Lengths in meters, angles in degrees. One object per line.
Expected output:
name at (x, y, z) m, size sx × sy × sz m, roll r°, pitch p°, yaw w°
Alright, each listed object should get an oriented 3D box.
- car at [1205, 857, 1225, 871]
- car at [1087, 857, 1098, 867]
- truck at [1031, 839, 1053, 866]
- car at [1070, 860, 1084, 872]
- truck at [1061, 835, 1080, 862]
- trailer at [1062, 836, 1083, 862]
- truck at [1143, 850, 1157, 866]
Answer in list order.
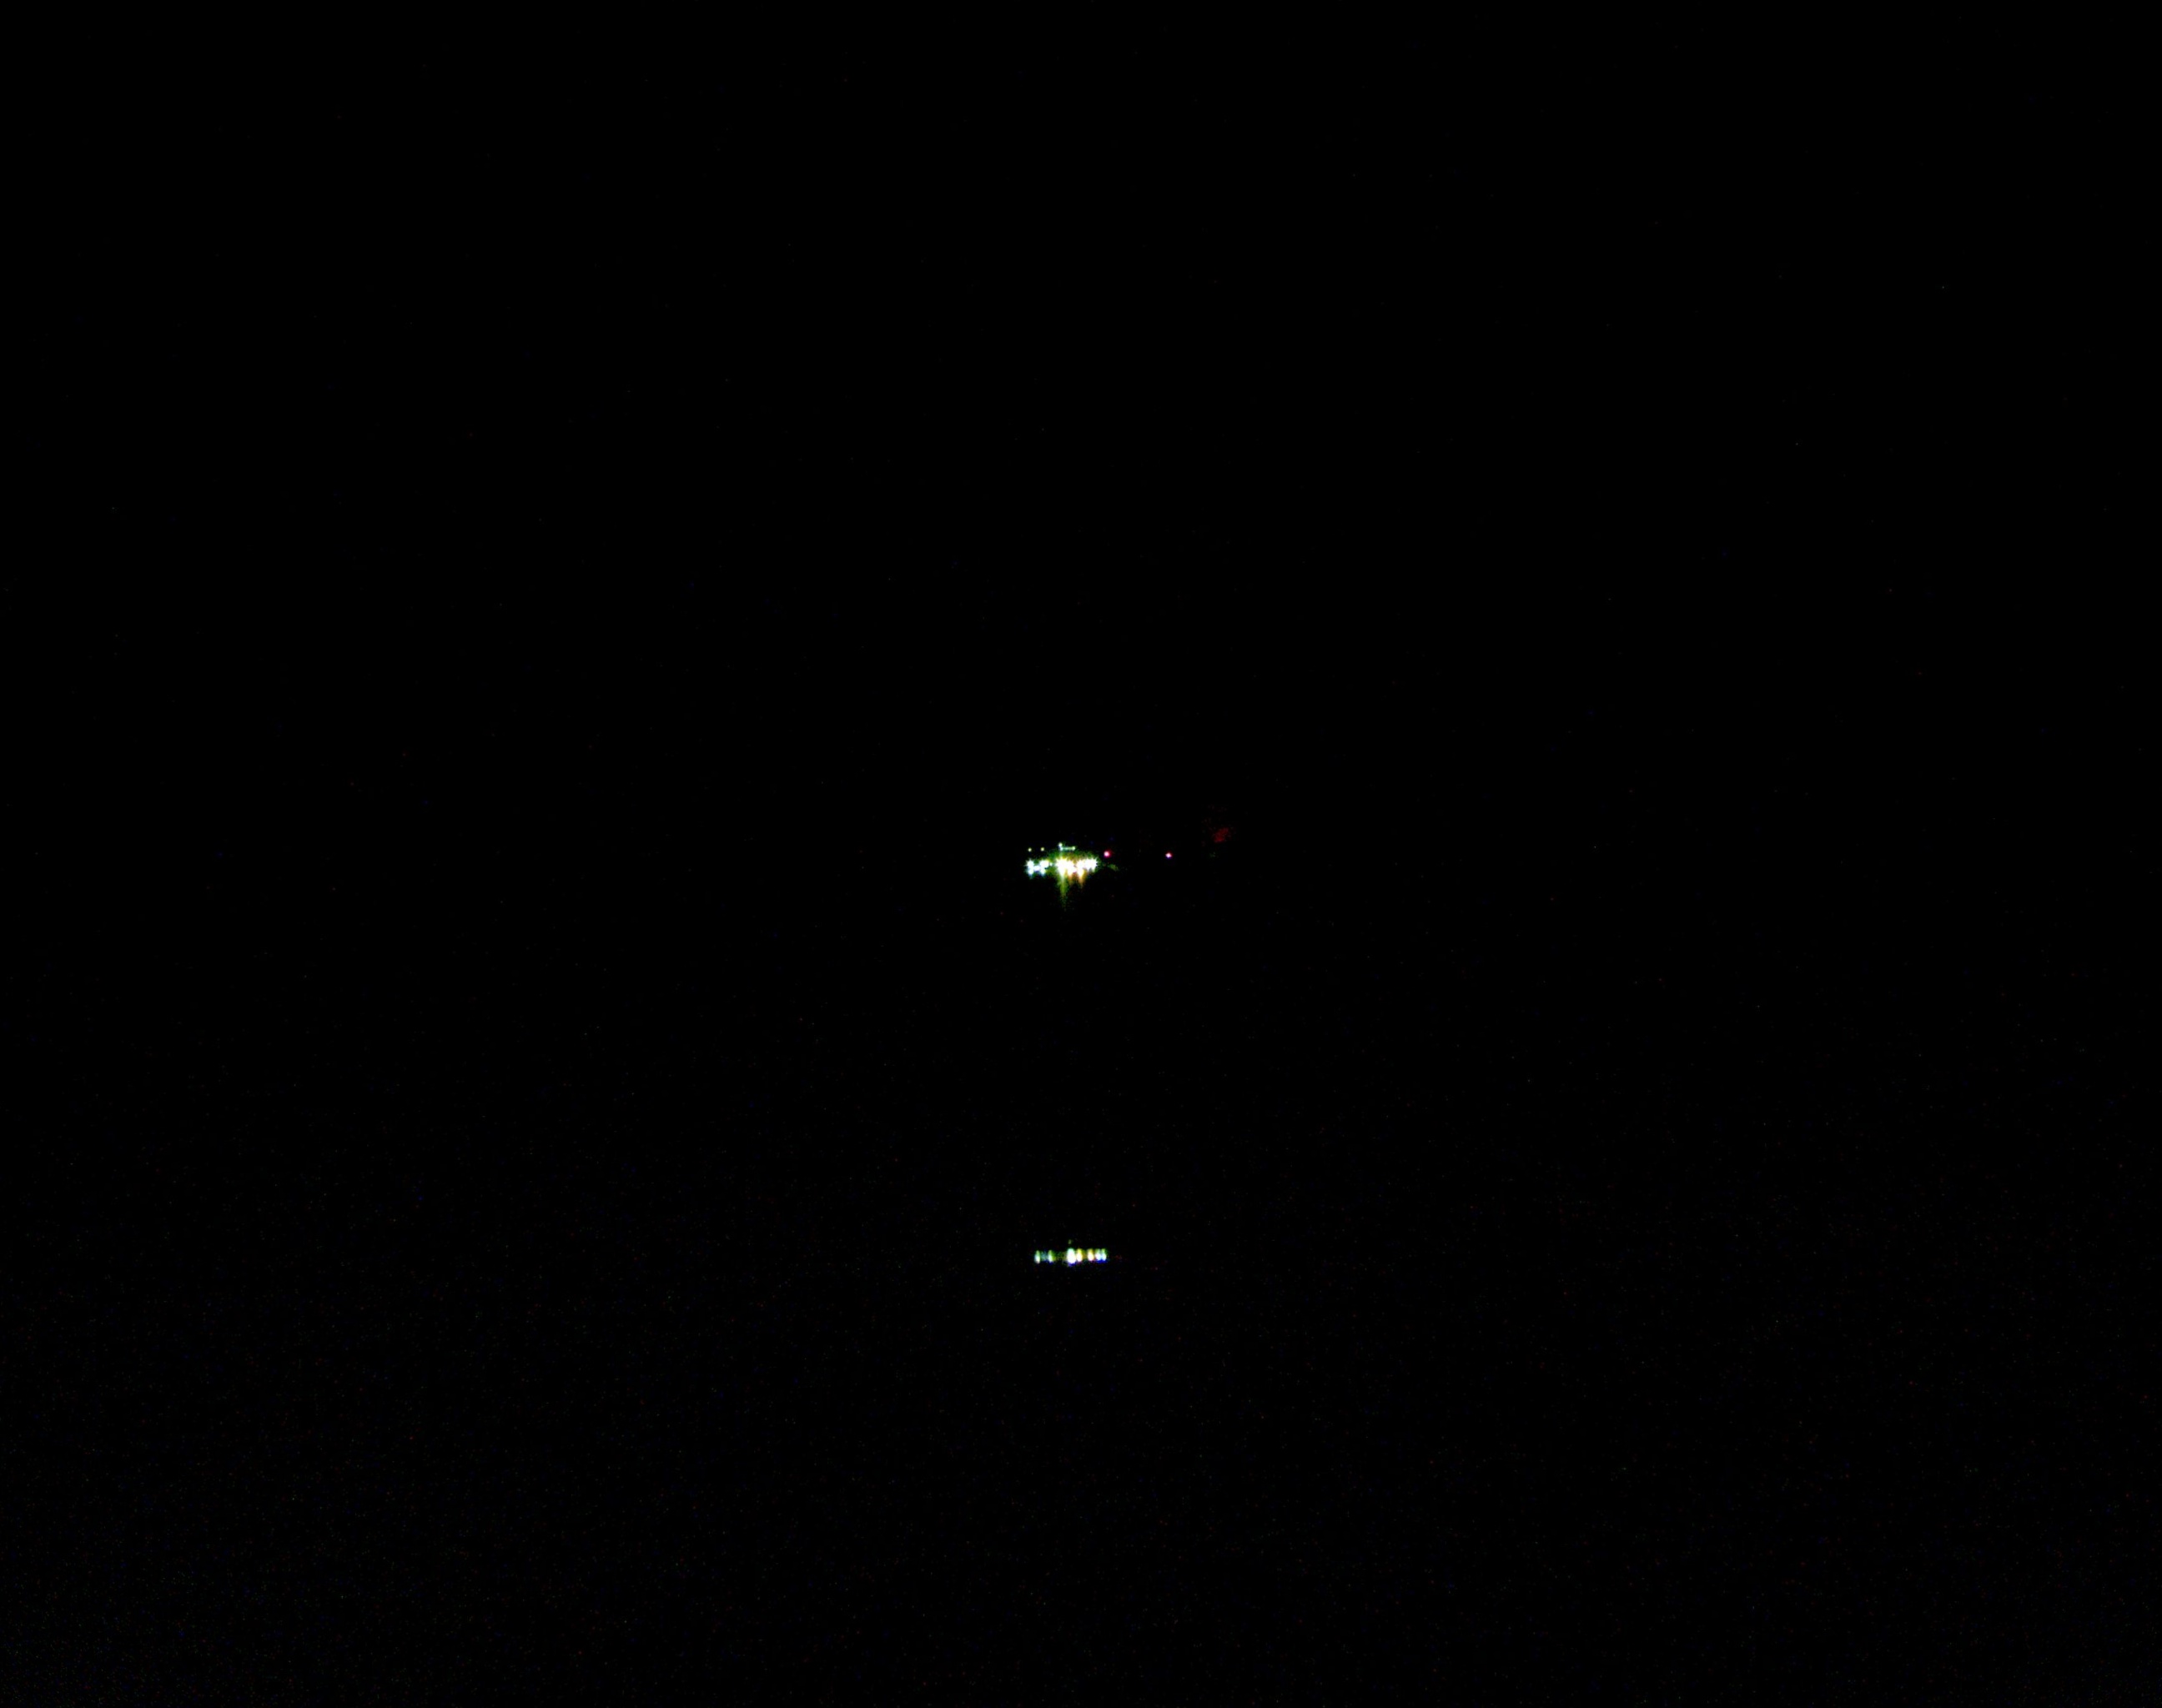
car at (16.660, 1.250, 94.627) m, size 1.642 × 1.542 × 4.469 m, roll -3°, pitch 1°, yaw 0°
car at (3.433, 2.246, 218.070) m, size 2.859 × 2.795 × 5.942 m, roll -3°, pitch -1°, yaw 2°
truck at (-6.195, -0.254, 121.250) m, size 2.597 × 4.048 × 7.675 m, roll -3°, pitch -1°, yaw 2°
car at (-0.508, 1.584, 99.170) m, size 1.701 × 1.379 × 3.502 m, roll -3°, pitch -1°, yaw 1°
truck at (-1.702, -0.836, 124.962) m, size 2.668 × 4.181 × 6.724 m, roll -3°, pitch -1°, yaw 2°
trailer at (-1.389, -0.761, 132.189) m, size 2.749 × 4.181 × 13.514 m, roll -3°, pitch -1°, yaw 2°
truck at (19.348, 1.271, 213.691) m, size 3.120 × 4.177 × 16.984 m, roll 1°, pitch -1°, yaw 3°
